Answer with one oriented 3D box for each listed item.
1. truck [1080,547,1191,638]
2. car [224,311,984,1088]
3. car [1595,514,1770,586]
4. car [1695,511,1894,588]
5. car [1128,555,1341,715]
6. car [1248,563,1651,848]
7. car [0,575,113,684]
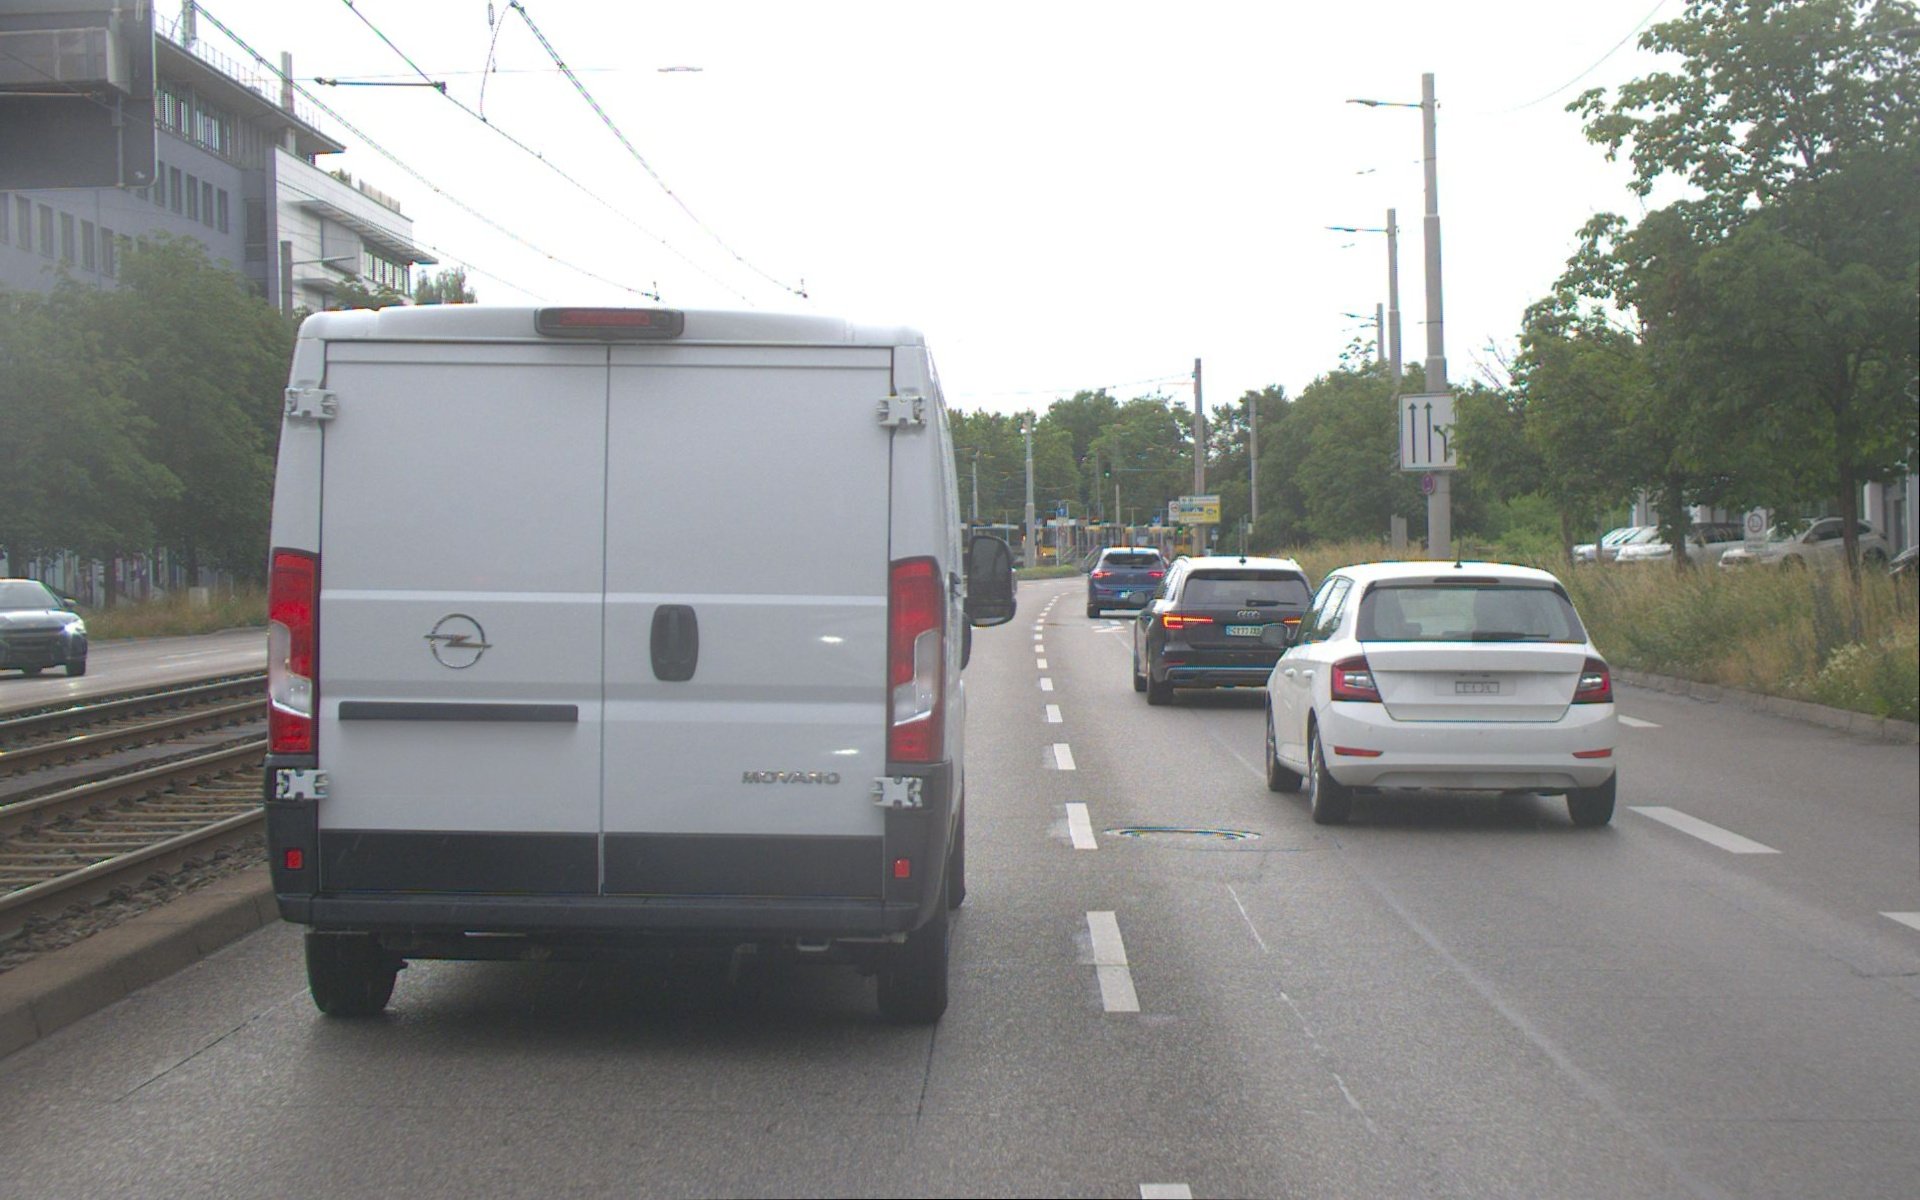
[{"bbox_3d":[3.614,-0.181,71.610,1.993,1.784,4.414,-2,1,-1],"label":"truck"},{"bbox_3d":[-1.003,0.252,12.351,2.090,2.189,5.061,1,1,1],"label":"car"},{"bbox_3d":[17.703,-1.230,84.199,4.087,1.563,1.799,-3,0,-35],"label":"car"},{"bbox_3d":[18.159,-1.104,74.752,4.087,1.460,1.748,-3,0,-31],"label":"car"},{"bbox_3d":[2.624,0.296,33.642,1.789,1.444,4.000,0,1,0],"label":"car"},{"bbox_3d":[2.757,0.540,20.123,1.746,1.452,3.671,1,1,-1],"label":"car"},{"bbox_3d":[-13.376,0.407,49.628,1.802,1.424,4.237,-2,1,-9],"label":"car"}]
